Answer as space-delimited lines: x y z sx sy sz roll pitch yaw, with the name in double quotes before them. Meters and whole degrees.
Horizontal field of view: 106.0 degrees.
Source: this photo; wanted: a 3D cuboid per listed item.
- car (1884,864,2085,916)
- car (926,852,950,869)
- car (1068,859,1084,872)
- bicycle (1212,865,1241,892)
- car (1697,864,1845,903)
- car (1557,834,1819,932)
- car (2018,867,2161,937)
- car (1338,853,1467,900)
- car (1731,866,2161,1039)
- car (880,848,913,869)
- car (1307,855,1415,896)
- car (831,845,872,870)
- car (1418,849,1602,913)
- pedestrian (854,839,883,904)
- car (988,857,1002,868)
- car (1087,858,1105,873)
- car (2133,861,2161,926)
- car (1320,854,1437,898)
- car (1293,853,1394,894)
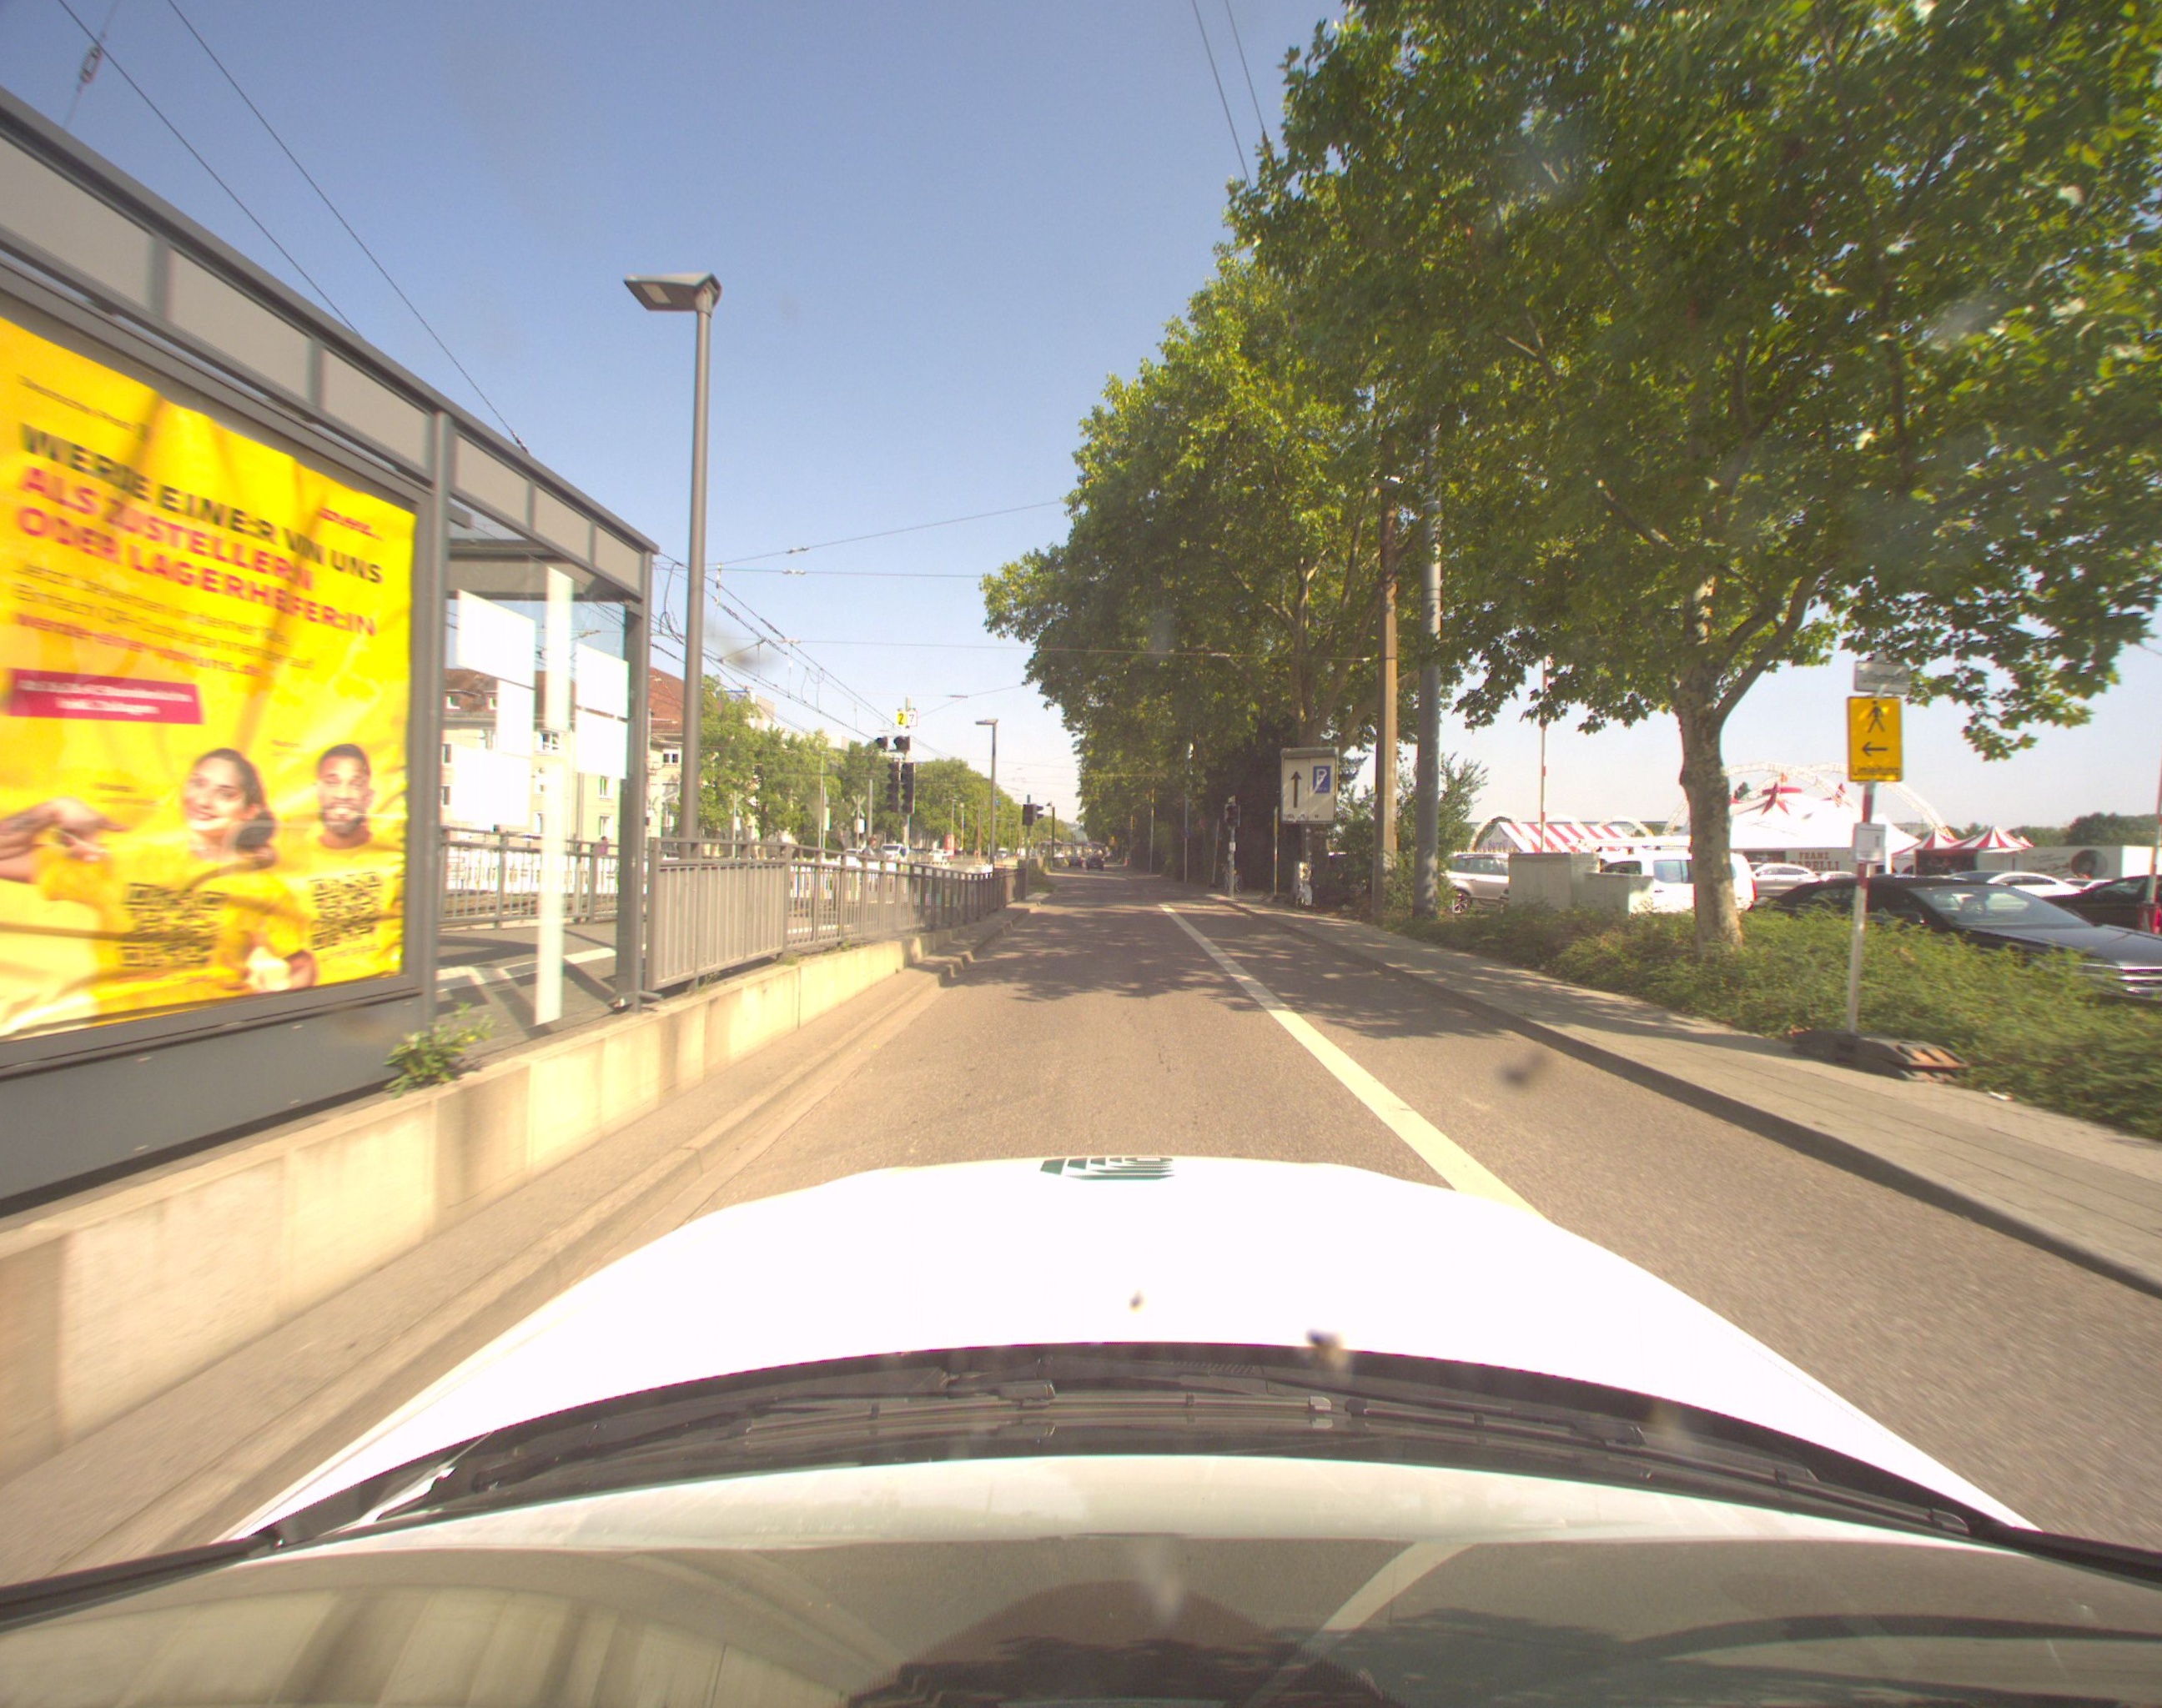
"car" 28.070 1.093 25.422 3.969 1.464 1.950 1 0 4
"car" -16.748 0.773 95.693 1.987 1.838 4.000 -2 -1 0
"car" -0.613 1.402 101.902 1.967 1.537 3.999 -2 0 0
"bicycle" 5.804 0.956 32.629 0.609 1.022 2.400 1 0 -3
"car" 28.424 1.202 33.648 4.371 1.464 1.950 1 0 4
"car" 12.590 0.572 17.123 4.086 1.918 1.849 -1 0 3
"car" 23.290 1.041 17.404 1.807 1.395 4.117 1 0 0
"car" 11.853 0.820 30.195 3.974 1.586 2.000 1 0 0
"car" 9.859 0.903 9.264 1.722 1.448 4.118 0 0 1
"car" -16.741 0.418 74.042 1.987 1.838 4.000 -2 -1 0
"car" 11.974 0.892 35.027 3.974 1.586 2.000 1 0 0
"car" -17.934 0.294 63.837 1.987 1.838 4.000 -2 -1 0
"car" 11.555 0.700 22.147 3.974 1.586 2.000 1 0 0
"pedestrian" -6.077 0.507 23.284 0.707 1.821 0.771 -1 -1 -9
"car" -15.738 1.608 148.912 1.987 1.838 4.000 -2 -1 0
"car" 1.579 1.209 86.505 1.901 1.537 4.000 -1 0 0
"car" 26.092 0.951 17.447 1.807 1.492 4.117 1 0 0
"car" 11.909 0.860 32.756 3.974 1.586 2.000 1 0 0
"car" 11.982 0.884 37.404 3.974 1.724 2.000 1 0 0
